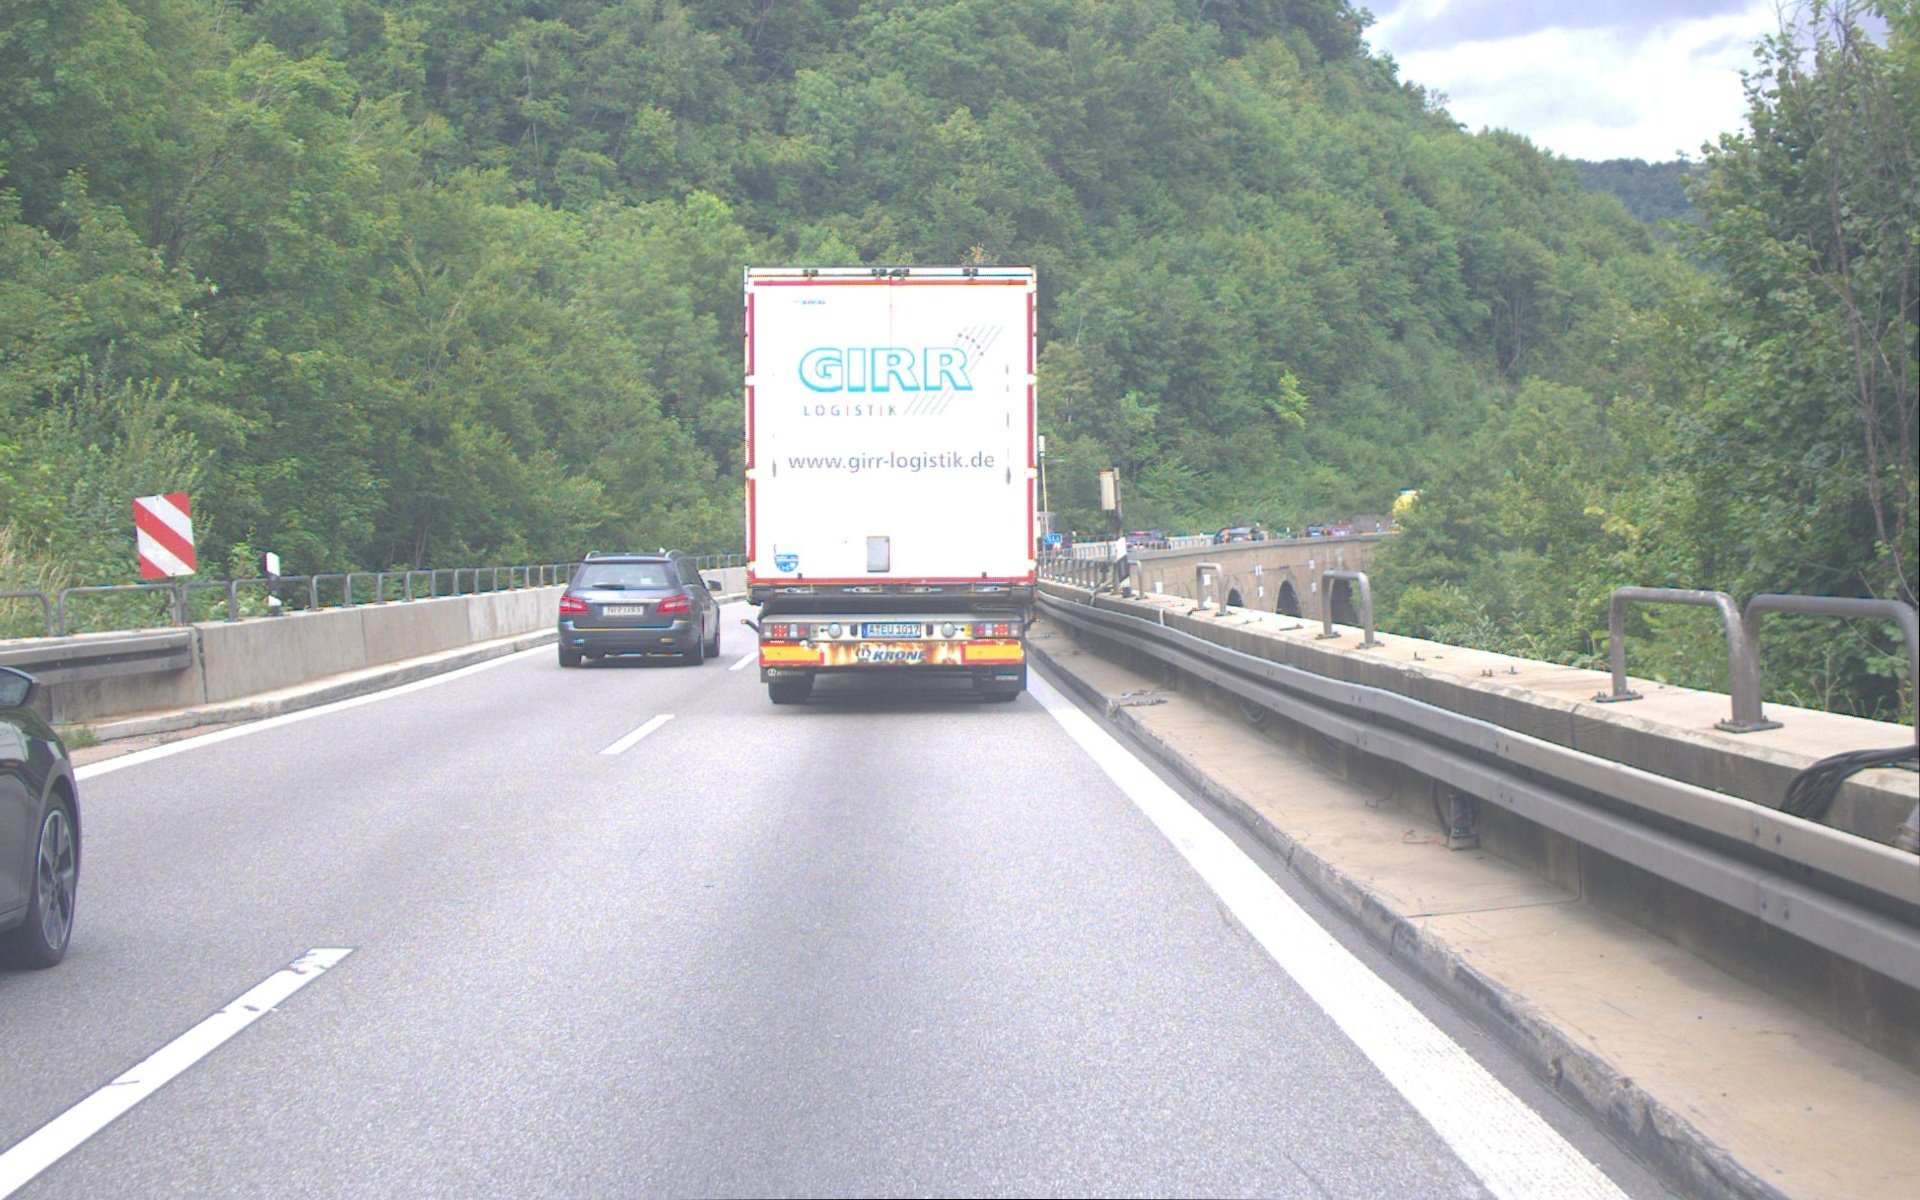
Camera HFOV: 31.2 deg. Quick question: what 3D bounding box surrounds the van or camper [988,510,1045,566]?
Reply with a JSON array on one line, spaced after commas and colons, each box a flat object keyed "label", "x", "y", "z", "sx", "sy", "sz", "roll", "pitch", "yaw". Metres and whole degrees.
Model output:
[{"label": "van or camper", "x": 2.681, "y": -2.888, "z": 161.097, "sx": 1.994, "sy": 2.551, "sz": 3.998, "roll": -1, "pitch": 0, "yaw": 11}]

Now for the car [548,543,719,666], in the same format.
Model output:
[{"label": "car", "x": -4.240, "y": 0.037, "z": 45.220, "sx": 1.883, "sy": 1.505, "sz": 4.419, "roll": -1, "pitch": 0, "yaw": -1}]

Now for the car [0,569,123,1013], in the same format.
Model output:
[{"label": "car", "x": -4.064, "y": 0.658, "z": 10.820, "sx": 1.773, "sy": 1.456, "sz": 4.582, "roll": -1, "pitch": 1, "yaw": -1}]

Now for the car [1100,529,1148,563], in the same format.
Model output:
[{"label": "car", "x": 8.313, "y": -2.716, "z": 174.043, "sx": 1.994, "sy": 1.678, "sz": 3.998, "roll": -1, "pitch": 0, "yaw": 9}]

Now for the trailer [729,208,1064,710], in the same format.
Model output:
[{"label": "trailer", "x": -0.639, "y": -1.277, "z": 35.927, "sx": 2.813, "sy": 4.288, "sz": 12.245, "roll": -1, "pitch": 0, "yaw": -1}]
